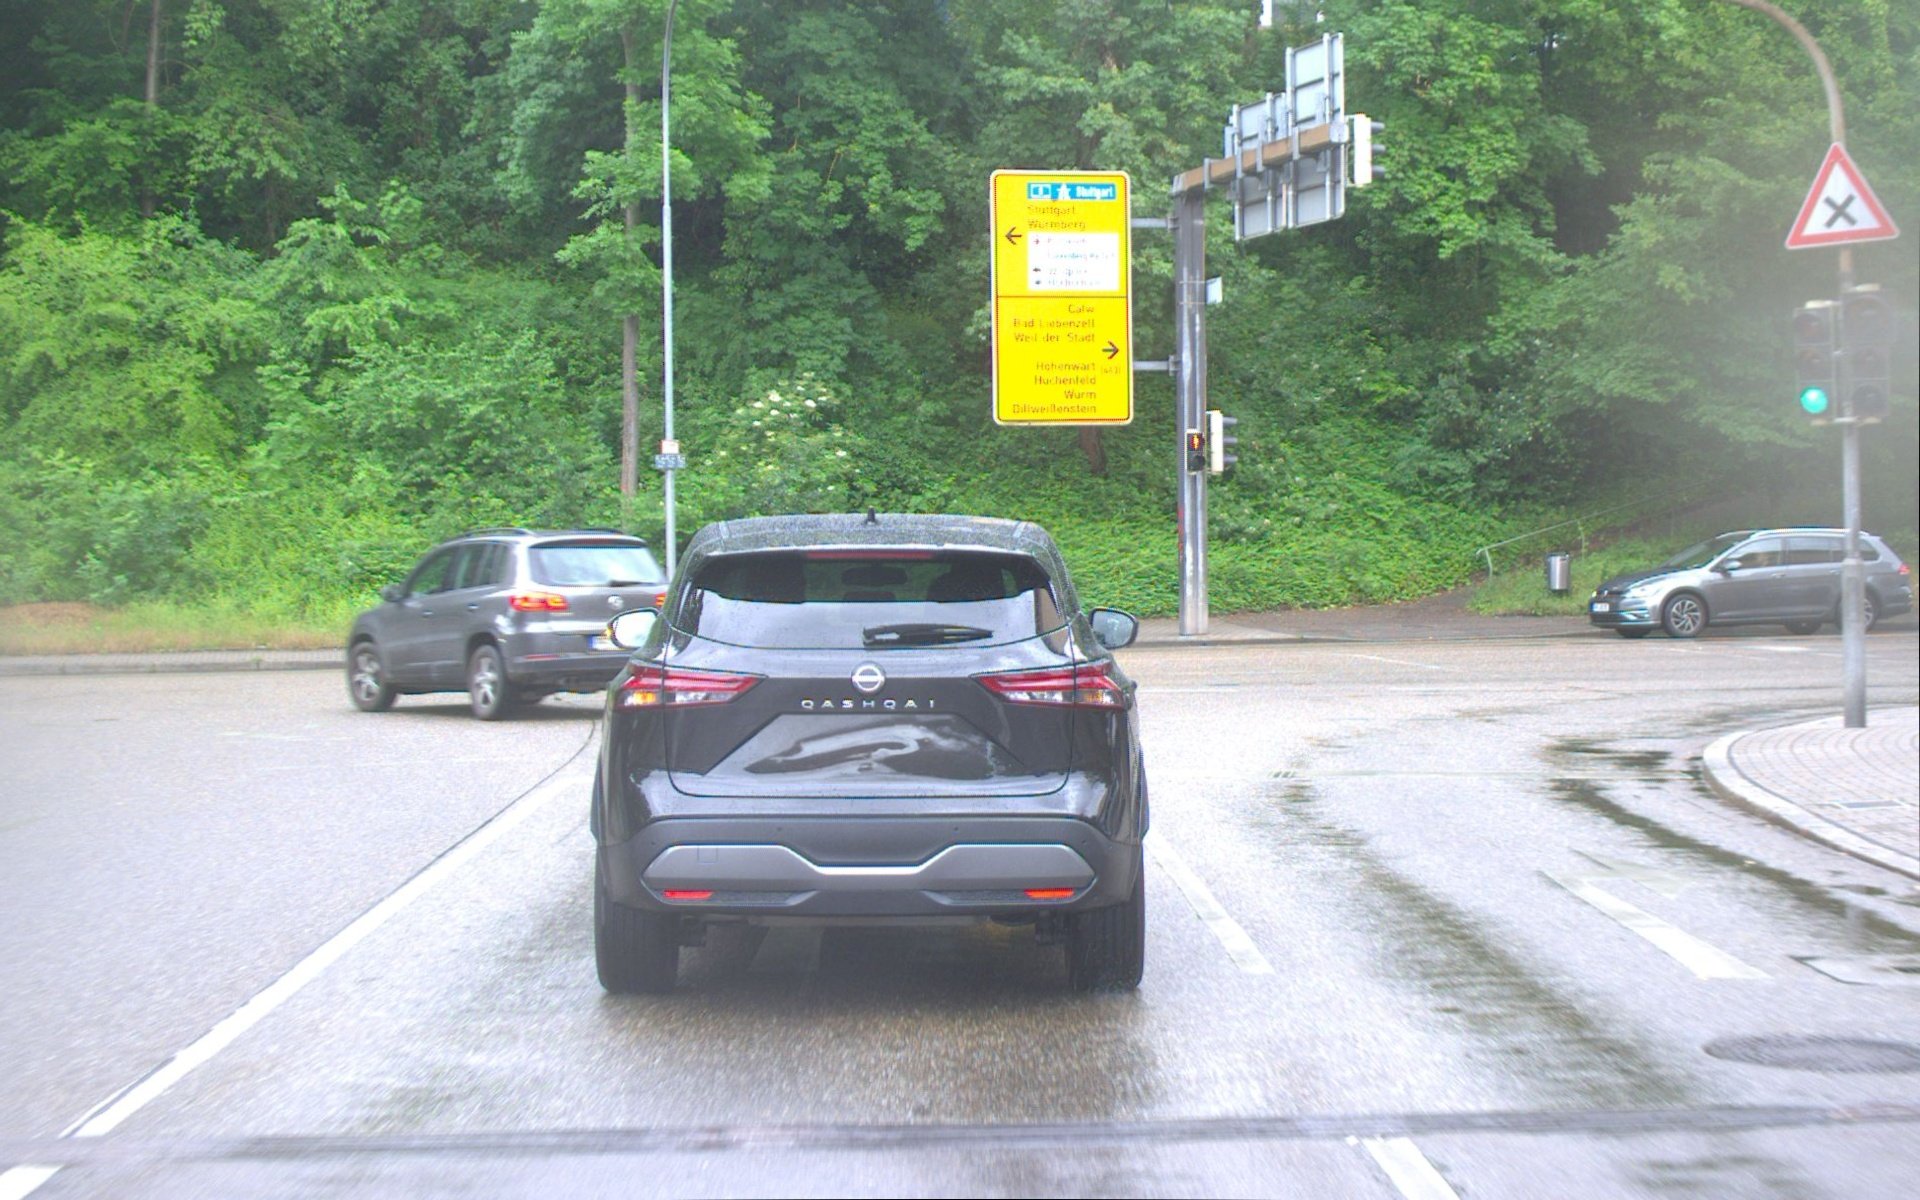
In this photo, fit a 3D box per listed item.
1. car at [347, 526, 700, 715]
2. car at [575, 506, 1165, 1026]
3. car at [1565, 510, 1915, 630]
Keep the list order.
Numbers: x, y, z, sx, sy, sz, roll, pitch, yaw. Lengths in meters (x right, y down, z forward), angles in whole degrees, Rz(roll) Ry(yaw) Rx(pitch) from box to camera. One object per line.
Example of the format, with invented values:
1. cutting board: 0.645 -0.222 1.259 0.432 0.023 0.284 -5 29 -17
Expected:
1. car: -4.034 0.153 31.246 1.811 1.597 4.000 0 1 -29
2. car: -0.313 0.468 12.622 1.811 1.597 4.000 0 1 -1
3. car: 10.836 -0.434 47.883 4.323 1.497 1.884 -2 1 -12
